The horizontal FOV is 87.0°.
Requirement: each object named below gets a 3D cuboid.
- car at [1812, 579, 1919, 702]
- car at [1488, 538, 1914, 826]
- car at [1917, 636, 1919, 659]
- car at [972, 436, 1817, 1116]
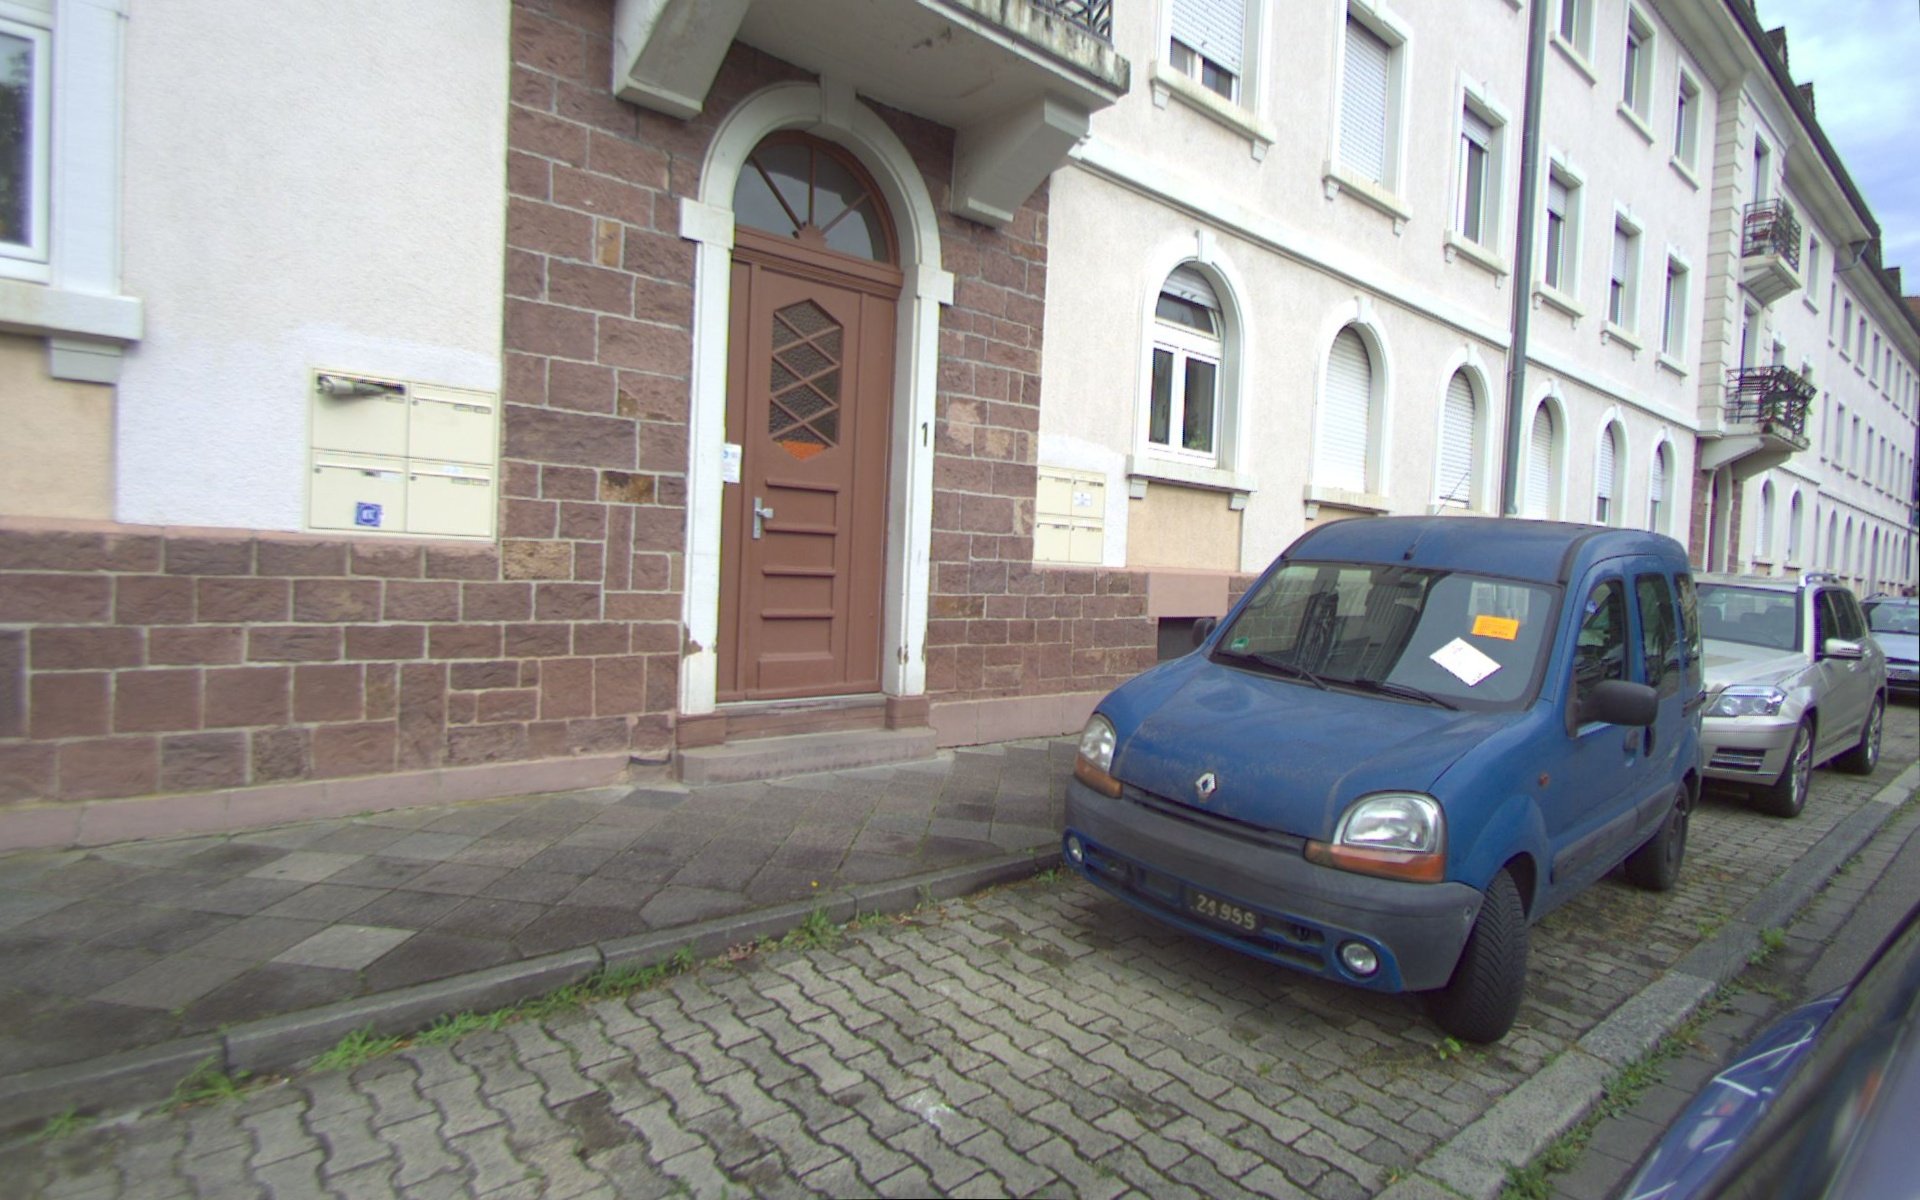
[{"bbox_3d":[13.991,0.566,14.750,3.885,1.532,1.687,0,6,-41],"label":"car"},{"bbox_3d":[6.097,0.476,8.155,4.055,1.656,1.776,1,6,-41],"label":"car"},{"bbox_3d":[21.905,0.622,21.626,3.939,1.416,1.610,1,6,-41],"label":"car"},{"bbox_3d":[2.273,0.401,4.749,4.112,1.806,1.943,0,4,-41],"label":"car"}]
